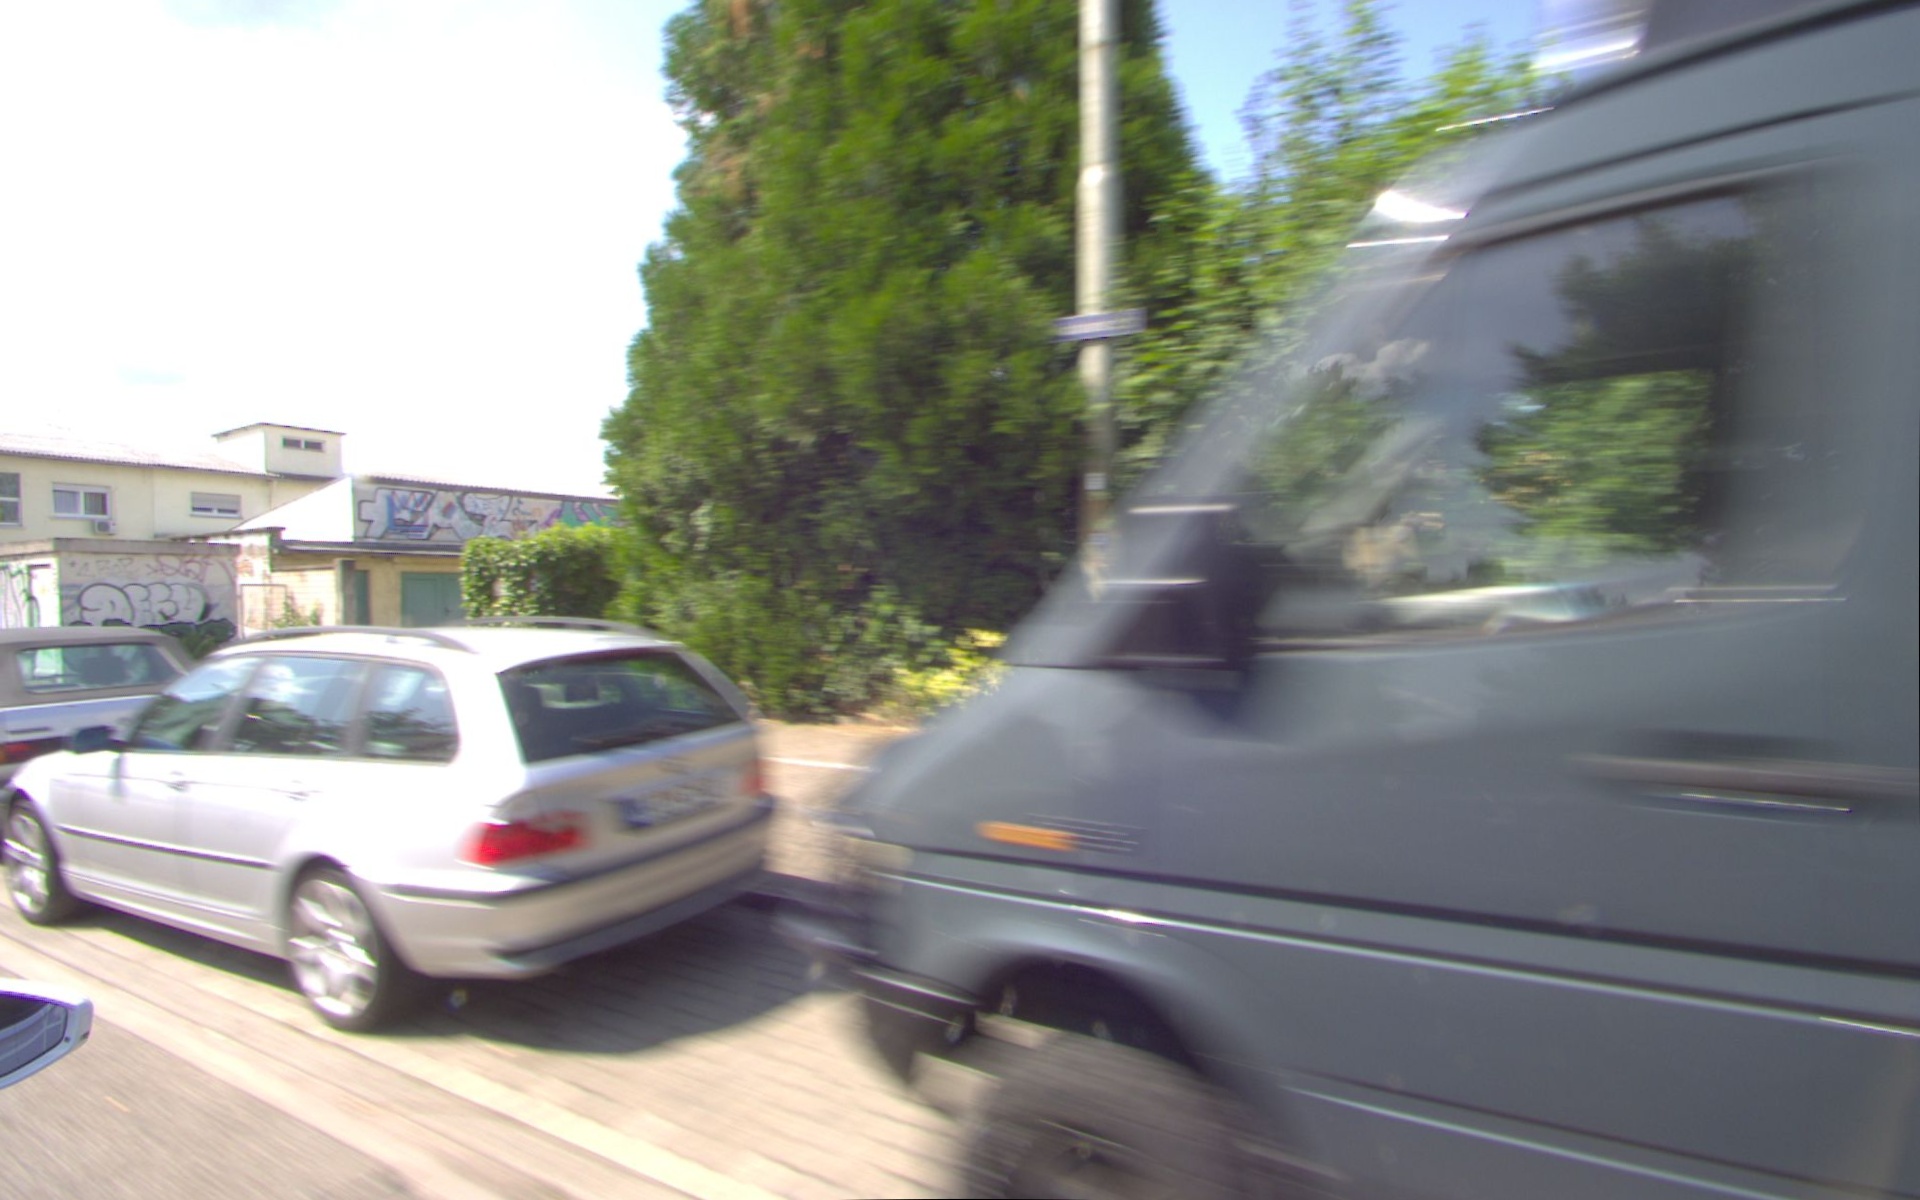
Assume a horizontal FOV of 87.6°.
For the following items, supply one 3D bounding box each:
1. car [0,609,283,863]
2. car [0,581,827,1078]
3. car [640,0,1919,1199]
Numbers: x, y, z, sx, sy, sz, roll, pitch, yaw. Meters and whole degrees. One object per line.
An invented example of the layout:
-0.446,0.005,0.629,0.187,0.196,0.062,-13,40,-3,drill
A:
-7.008,0.829,7.569,4.038,1.451,1.647,-1,2,33,car
-2.900,0.731,4.904,4.290,1.537,1.688,-1,1,30,car
1.873,0.167,1.835,4.808,2.799,1.991,0,2,32,car
